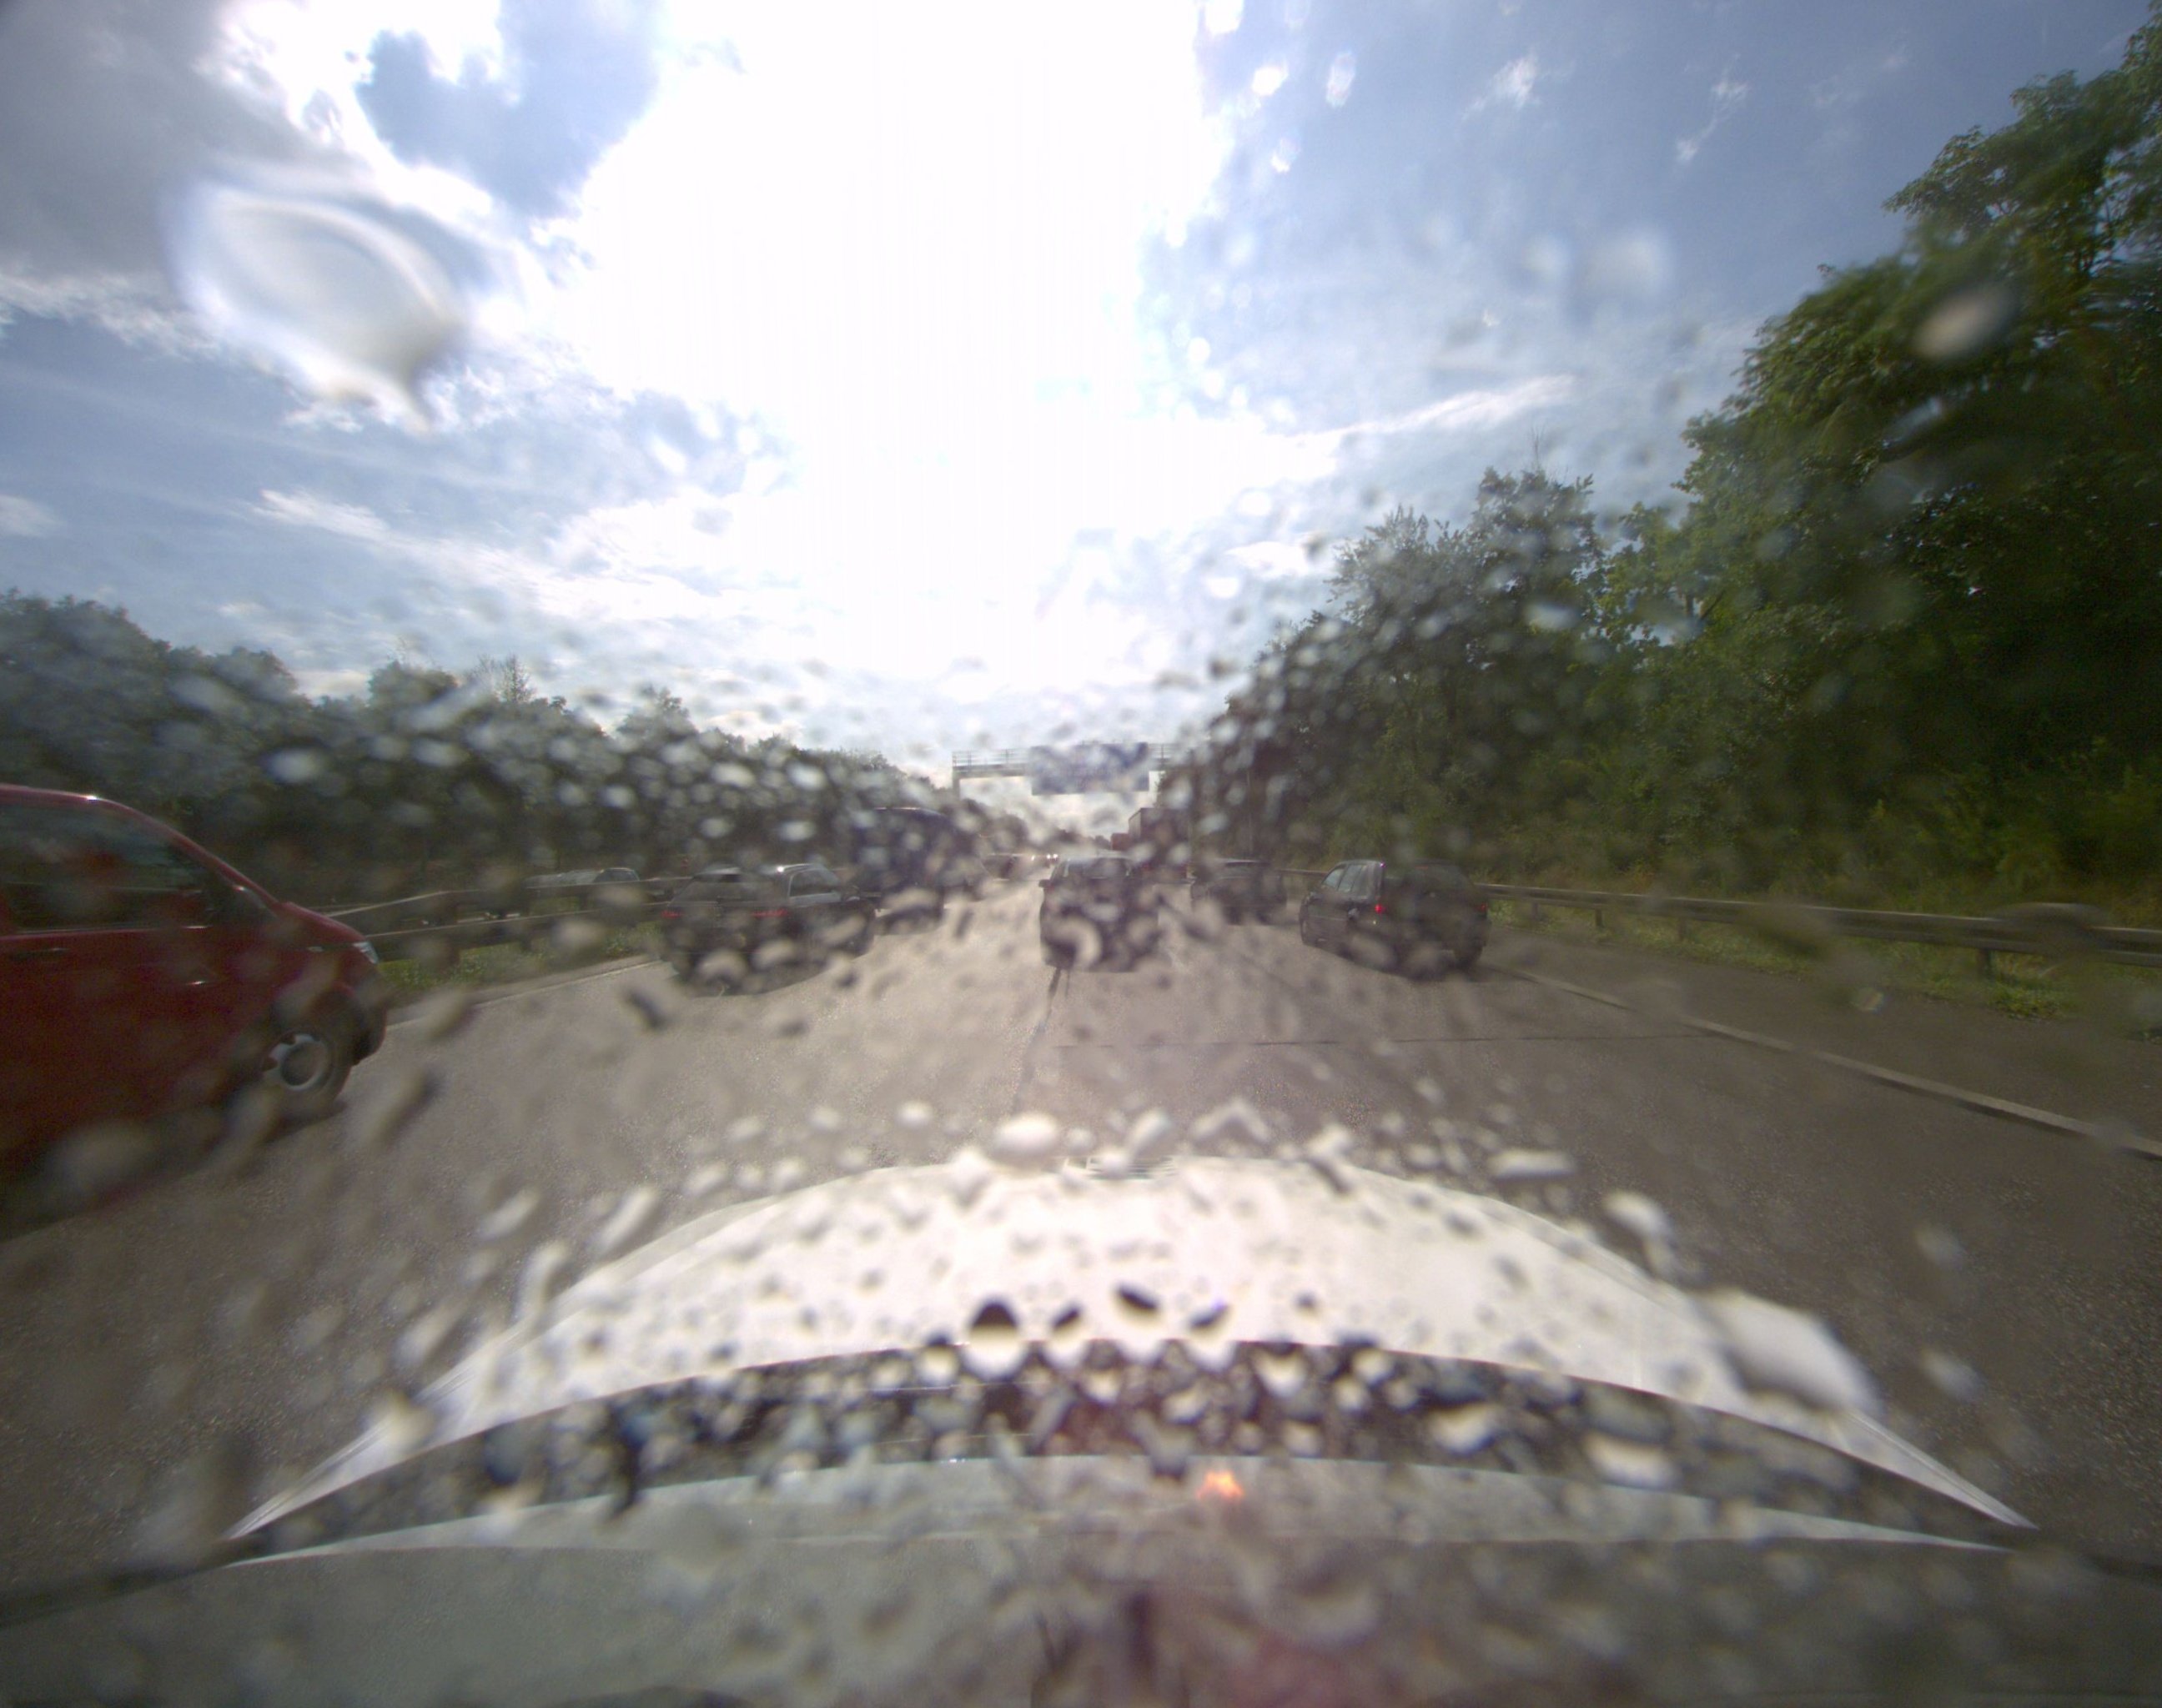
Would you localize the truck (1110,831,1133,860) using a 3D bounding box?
[{"bbox_3d":[5.271,-1.075,106.996,2.765,3.631,5.917,0,-1,1],"label":"truck"}]

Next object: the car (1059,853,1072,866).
[{"bbox_3d":[-2.627,0.955,139.599,1.986,2.115,4.889,0,0,1],"label":"car"}]

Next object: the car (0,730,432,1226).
[{"bbox_3d":[-5.471,0.516,3.181,1.971,2.054,4.757,0,0,1],"label":"car"}]

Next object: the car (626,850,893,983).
[{"bbox_3d":[-4.378,0.761,12.085,1.986,1.564,4.757,0,0,1],"label":"car"}]

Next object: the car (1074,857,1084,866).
[{"bbox_3d":[-0.458,1.700,184.139,1.986,2.115,4.889,0,0,1],"label":"car"}]

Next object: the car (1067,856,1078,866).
[{"bbox_3d":[-1.735,1.399,163.123,1.986,2.115,4.889,0,0,1],"label":"car"}]

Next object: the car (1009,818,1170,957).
[{"bbox_3d":[0.094,0.490,13.942,2.267,1.954,4.819,0,0,-1],"label":"car"}]

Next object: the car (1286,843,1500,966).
[{"bbox_3d":[4.377,0.638,12.103,1.586,1.516,3.974,0,0,-1],"label":"car"}]

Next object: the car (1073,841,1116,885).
[{"bbox_3d":[0.531,0.369,35.475,1.688,1.805,3.973,0,-1,-1],"label":"car"}]

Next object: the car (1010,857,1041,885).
[{"bbox_3d":[-4.268,1.287,63.790,1.986,2.115,4.889,0,0,1],"label":"car"}]

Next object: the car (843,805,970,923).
[{"bbox_3d":[-4.254,0.235,20.788,1.986,2.615,5.260,0,-1,1],"label":"car"}]

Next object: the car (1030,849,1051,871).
[{"bbox_3d":[-4.612,0.663,92.945,1.986,2.385,5.260,0,-1,1],"label":"car"}]

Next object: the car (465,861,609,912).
[{"bbox_3d":[-20.764,1.187,31.426,2.045,1.775,5.208,0,0,0],"label":"car"}]

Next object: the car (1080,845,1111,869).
[{"bbox_3d":[0.897,0.221,53.445,1.860,1.516,3.973,0,0,-2],"label":"car"}]

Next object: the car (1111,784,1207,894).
[{"bbox_3d":[4.462,-0.751,51.812,4.390,5.830,16.812,0,0,-1],"label":"car"}]

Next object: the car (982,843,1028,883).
[{"bbox_3d":[-4.234,0.494,46.103,1.986,2.115,4.889,0,0,1],"label":"car"}]

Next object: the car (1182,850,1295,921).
[{"bbox_3d":[3.663,0.703,19.603,1.860,1.516,3.973,0,0,-2],"label":"car"}]

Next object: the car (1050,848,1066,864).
[{"bbox_3d":[-3.233,0.315,115.060,1.986,2.115,4.889,0,0,1],"label":"car"}]

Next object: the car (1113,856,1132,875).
[{"bbox_3d":[4.759,1.331,93.215,1.986,2.115,4.889,0,0,1],"label":"car"}]

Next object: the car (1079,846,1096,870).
[{"bbox_3d":[0.845,0.450,97.470,1.986,2.746,5.260,0,-1,1],"label":"car"}]
